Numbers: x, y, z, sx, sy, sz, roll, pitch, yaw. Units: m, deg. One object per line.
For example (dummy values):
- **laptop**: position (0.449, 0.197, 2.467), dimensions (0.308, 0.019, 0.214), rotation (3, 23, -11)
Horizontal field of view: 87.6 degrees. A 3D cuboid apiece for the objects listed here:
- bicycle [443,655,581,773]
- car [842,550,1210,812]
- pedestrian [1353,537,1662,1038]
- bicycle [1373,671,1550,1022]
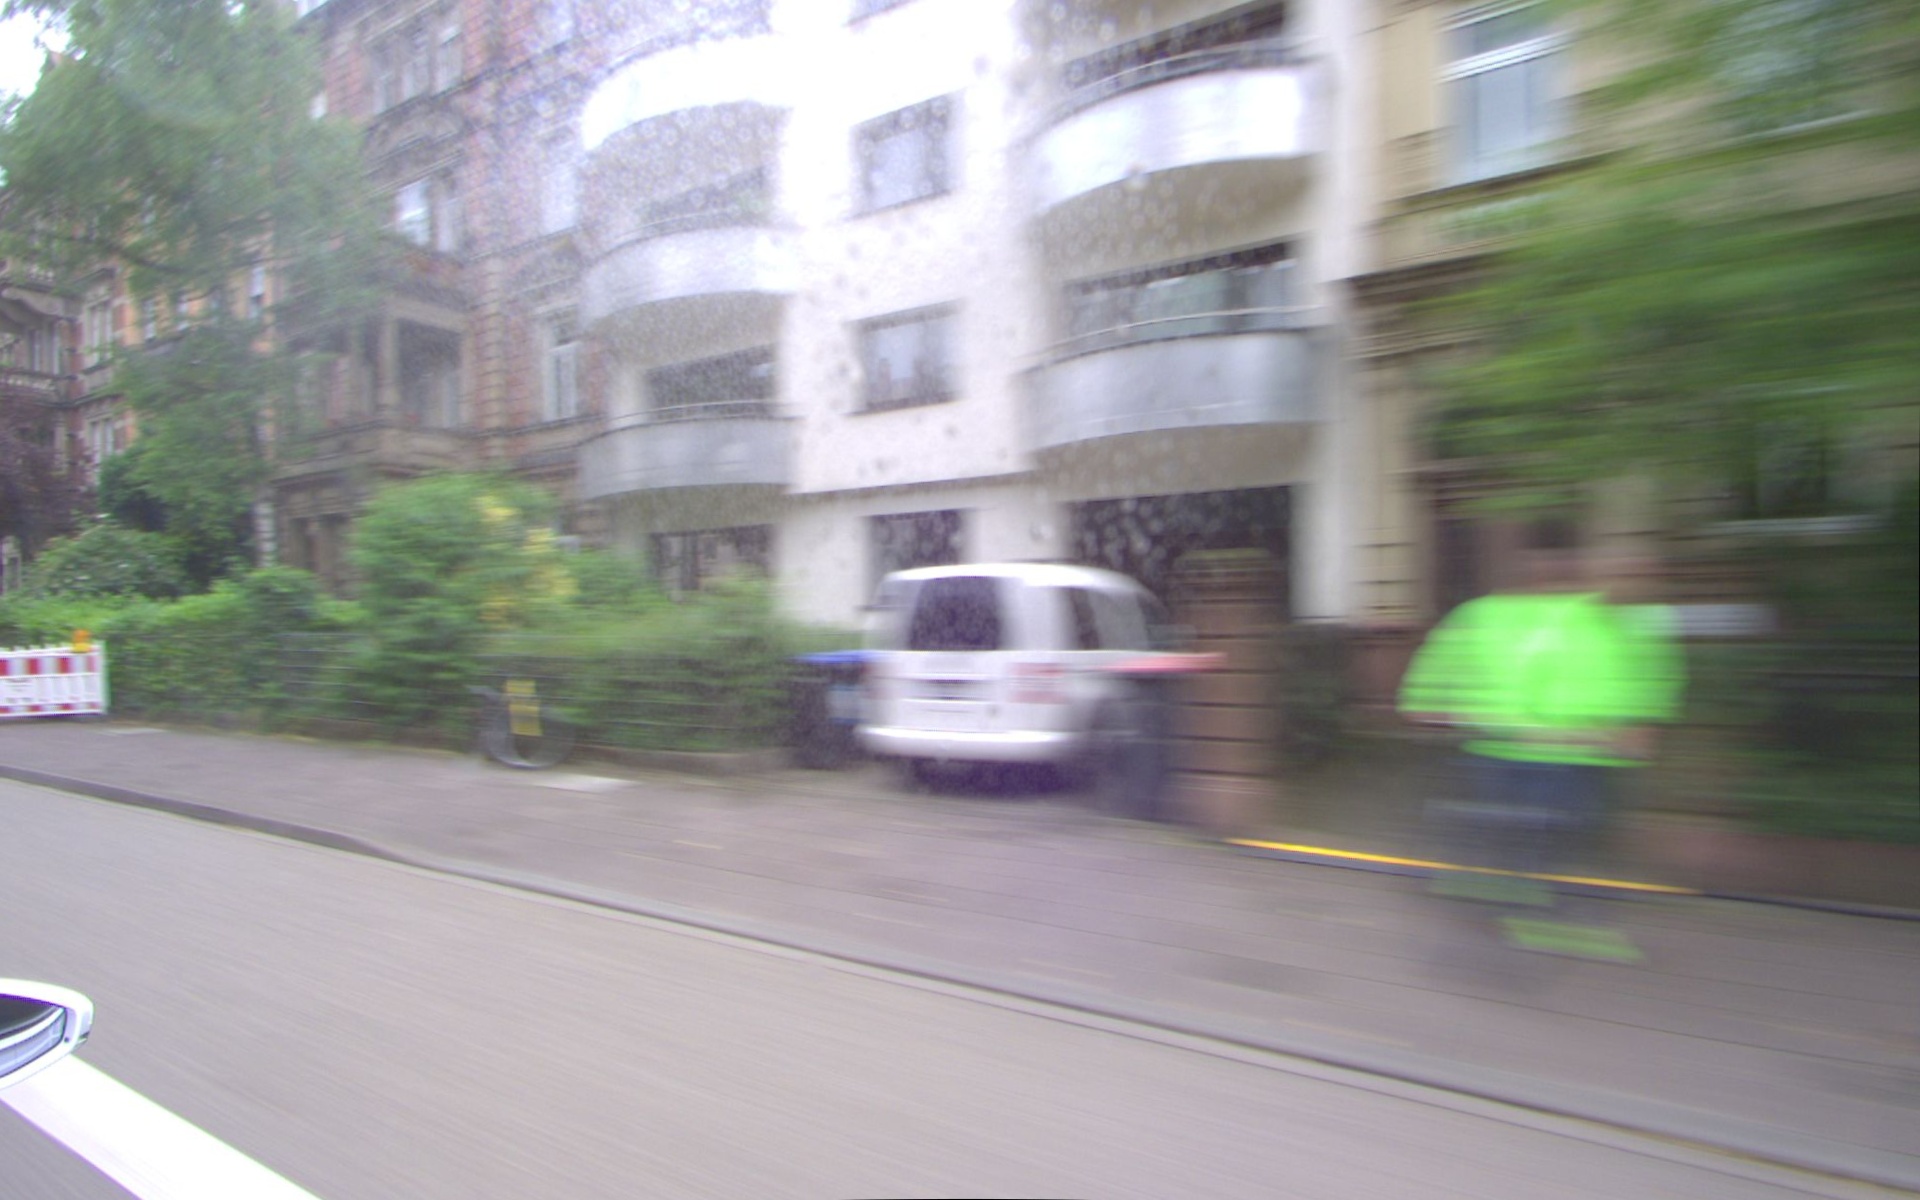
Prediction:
- **bicycle**: position (-4.447, 1.095, 9.915), dimensions (1.510, 1.059, 0.478), rotation (-1, 1, 32)
- **car**: position (0.841, 0.616, 9.366), dimensions (1.783, 1.882, 3.979), rotation (-1, -1, 32)
- **pedestrian**: position (2.320, 0.642, 4.268), dimensions (1.003, 1.757, 1.226), rotation (0, 3, 31)
- **bicycle**: position (2.351, 0.969, 4.592), dimensions (0.597, 1.090, 1.837), rotation (0, 2, 30)
